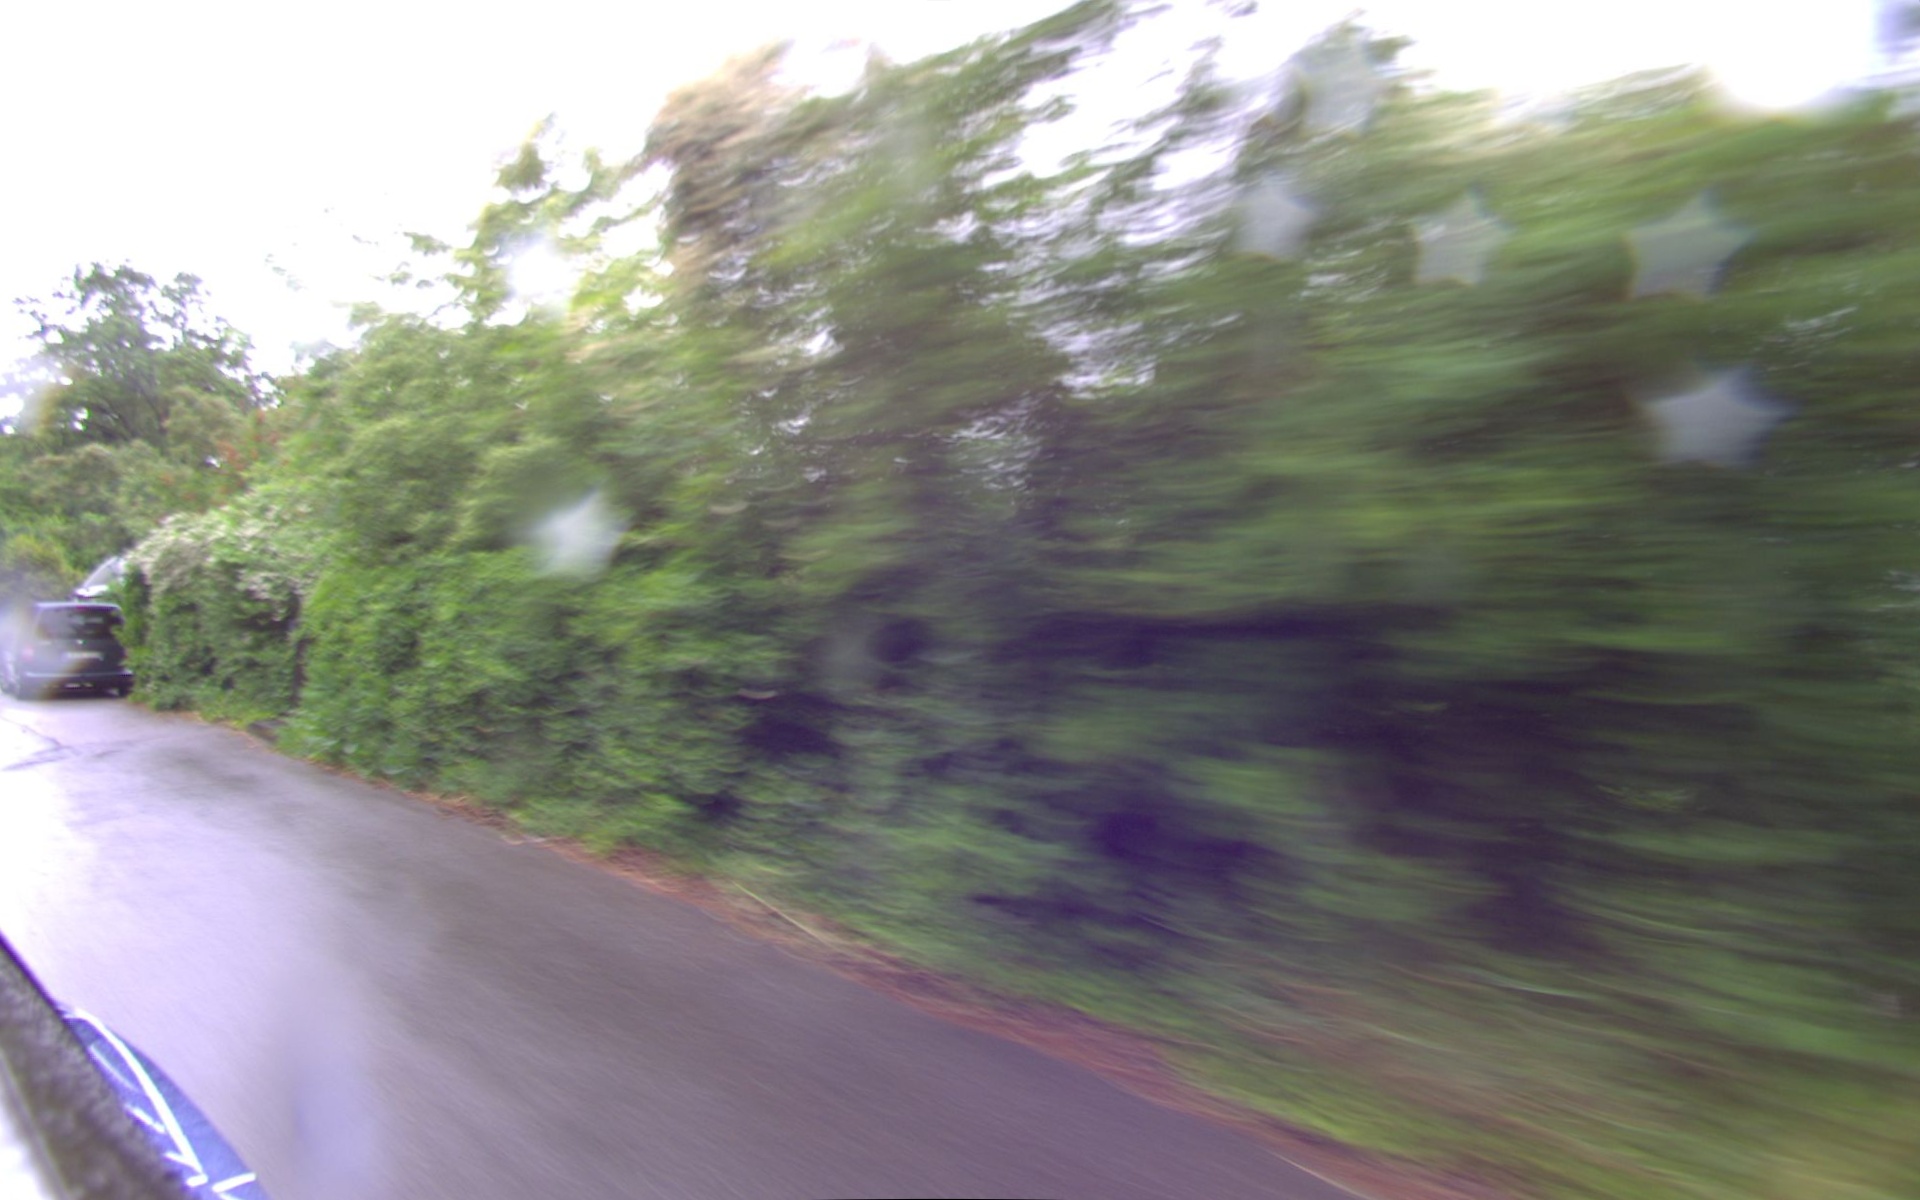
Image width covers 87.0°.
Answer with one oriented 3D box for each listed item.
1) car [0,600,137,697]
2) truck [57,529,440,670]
[{"bbox_3d":[-17.855,0.941,20.092,4.067,1.740,1.668,-1,-4,42],"label":"car"},{"bbox_3d":[-20.580,-0.029,29.681,9.116,3.743,2.769,-1,0,-2],"label":"truck"}]
